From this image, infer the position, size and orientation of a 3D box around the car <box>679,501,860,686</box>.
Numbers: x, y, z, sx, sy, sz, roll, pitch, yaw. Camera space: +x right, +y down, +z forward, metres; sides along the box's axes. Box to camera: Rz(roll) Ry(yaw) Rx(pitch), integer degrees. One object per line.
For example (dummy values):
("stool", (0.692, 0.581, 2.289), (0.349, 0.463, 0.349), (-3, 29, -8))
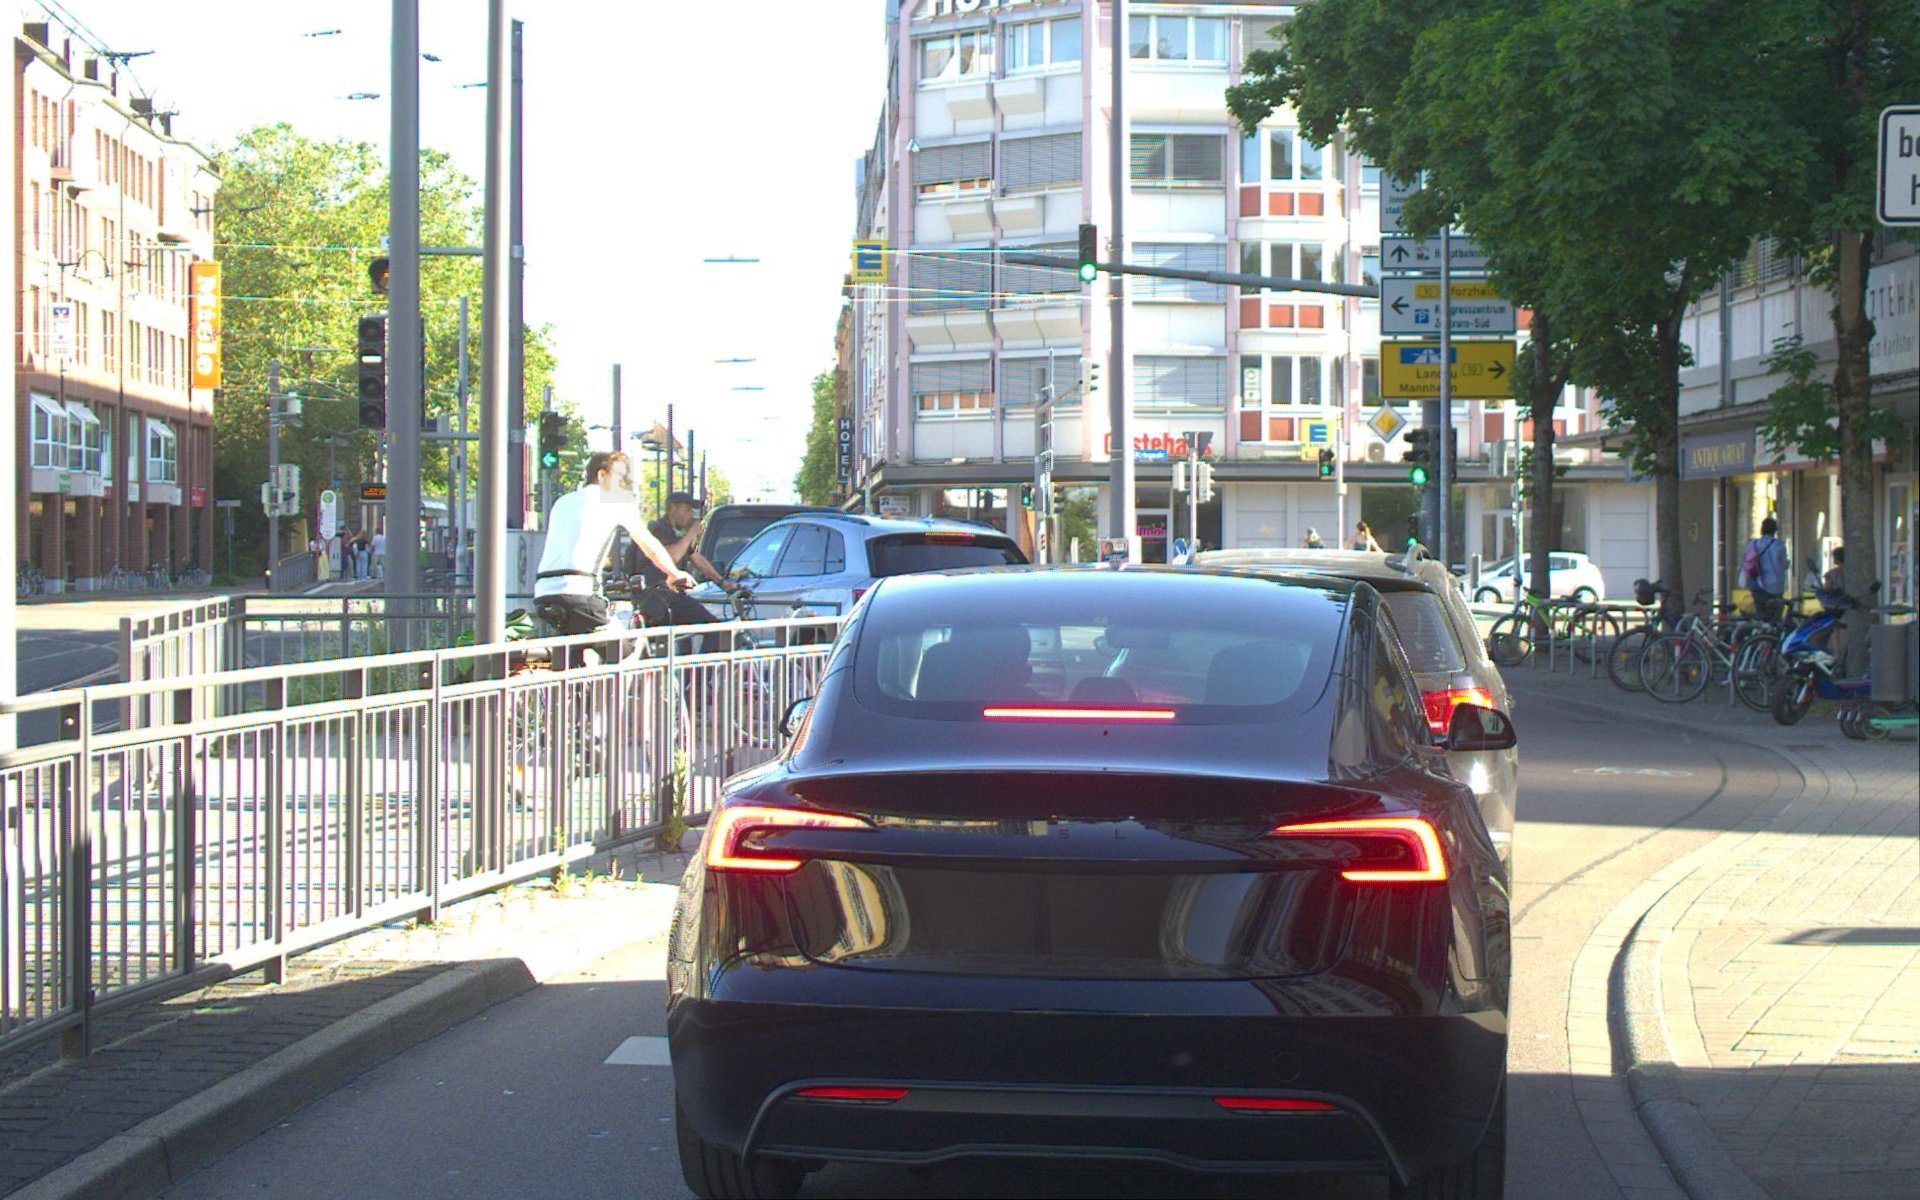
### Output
("car", (-1.773, -0.074, 32.319), (1.572, 1.612, 3.784), (1, 1, -3))

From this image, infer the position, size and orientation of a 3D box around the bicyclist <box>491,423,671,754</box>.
("bicyclist", (-1.909, -0.058, 17.313), (0.681, 1.625, 0.578), (0, 0, -39))

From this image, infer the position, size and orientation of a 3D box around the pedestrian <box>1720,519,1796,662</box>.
("pedestrian", (9.751, -0.124, 42.014), (0.843, 1.715, 0.879), (1, 0, 11))

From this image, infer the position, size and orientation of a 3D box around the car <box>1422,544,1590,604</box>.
("car", (13.719, -0.645, 86.427), (3.840, 1.427, 1.804), (0, -1, -5))

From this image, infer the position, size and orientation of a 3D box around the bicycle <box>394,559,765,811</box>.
("bicycle", (-1.899, 0.410, 17.328), (1.820, 1.207, 0.582), (0, 1, -39))

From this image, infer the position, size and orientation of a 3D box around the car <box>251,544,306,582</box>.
("car", (-27.059, -1.466, 136.528), (1.817, 1.449, 3.978), (-1, 1, -7))

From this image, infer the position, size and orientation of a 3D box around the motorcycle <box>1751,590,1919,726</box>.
("motorcycle", (7.688, 0.490, 29.220), (1.787, 1.126, 0.504), (1, 0, -3))

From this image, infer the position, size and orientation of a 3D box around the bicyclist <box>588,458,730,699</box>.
("bicyclist", (-1.944, -0.138, 22.166), (0.681, 1.518, 0.635), (1, 0, -31))

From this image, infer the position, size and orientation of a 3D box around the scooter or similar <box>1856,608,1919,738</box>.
("scooter or similar", (7.622, 0.577, 27.302), (0.964, 1.023, 0.160), (0, 1, 3))

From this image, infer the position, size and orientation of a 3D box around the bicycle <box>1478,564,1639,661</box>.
("bicycle", (7.382, 0.154, 42.430), (1.890, 1.152, 0.480), (-1, 0, 0))

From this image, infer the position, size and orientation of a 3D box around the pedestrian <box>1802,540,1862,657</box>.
("pedestrian", (10.644, -0.023, 41.995), (0.645, 1.417, 0.621), (1, 0, 10))

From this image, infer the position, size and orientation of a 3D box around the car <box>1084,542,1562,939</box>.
("car", (1.523, 0.485, 15.148), (1.765, 1.439, 4.528), (1, 1, 4))

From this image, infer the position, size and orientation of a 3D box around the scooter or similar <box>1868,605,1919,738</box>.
("scooter or similar", (7.611, 0.559, 26.903), (0.964, 1.039, 0.160), (0, 1, 3))

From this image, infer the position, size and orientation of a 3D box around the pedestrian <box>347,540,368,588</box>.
("pedestrian", (-19.129, -1.143, 109.138), (0.583, 1.525, 0.638), (1, 0, -18))

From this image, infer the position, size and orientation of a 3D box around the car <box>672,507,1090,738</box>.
("car", (-0.671, 0.136, 26.213), (1.839, 1.629, 3.486), (1, 1, -27))

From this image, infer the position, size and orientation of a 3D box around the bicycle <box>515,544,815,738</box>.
("bicycle", (-1.897, 0.257, 22.199), (1.820, 1.207, 0.642), (0, 1, -31))

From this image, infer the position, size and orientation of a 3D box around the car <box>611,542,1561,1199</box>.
("car", (0.375, 0.612, 8.509), (1.791, 1.446, 3.939), (1, 2, 4))

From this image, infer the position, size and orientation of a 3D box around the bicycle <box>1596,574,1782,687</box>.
("bicycle", (7.485, 0.310, 35.314), (1.809, 1.147, 0.435), (0, 0, -4))

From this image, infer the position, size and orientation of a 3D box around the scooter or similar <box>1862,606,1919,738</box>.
("scooter or similar", (7.617, 0.569, 27.101), (0.956, 1.035, 0.160), (0, 1, 3))

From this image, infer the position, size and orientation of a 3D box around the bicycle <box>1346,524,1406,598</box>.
("bicycle", (8.227, -0.779, 68.066), (0.582, 1.458, 1.686), (0, 1, -16))

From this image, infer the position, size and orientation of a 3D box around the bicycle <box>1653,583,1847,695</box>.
("bicycle", (7.651, 0.375, 33.335), (1.767, 1.053, 0.458), (1, 0, 5))

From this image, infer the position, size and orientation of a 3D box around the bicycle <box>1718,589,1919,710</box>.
("bicycle", (7.860, 0.442, 31.300), (1.849, 1.052, 0.399), (-1, 1, -11))

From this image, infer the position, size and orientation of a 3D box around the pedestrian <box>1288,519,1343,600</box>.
("pedestrian", (7.032, -0.800, 68.027), (0.779, 1.571, 0.868), (1, 2, -15))
